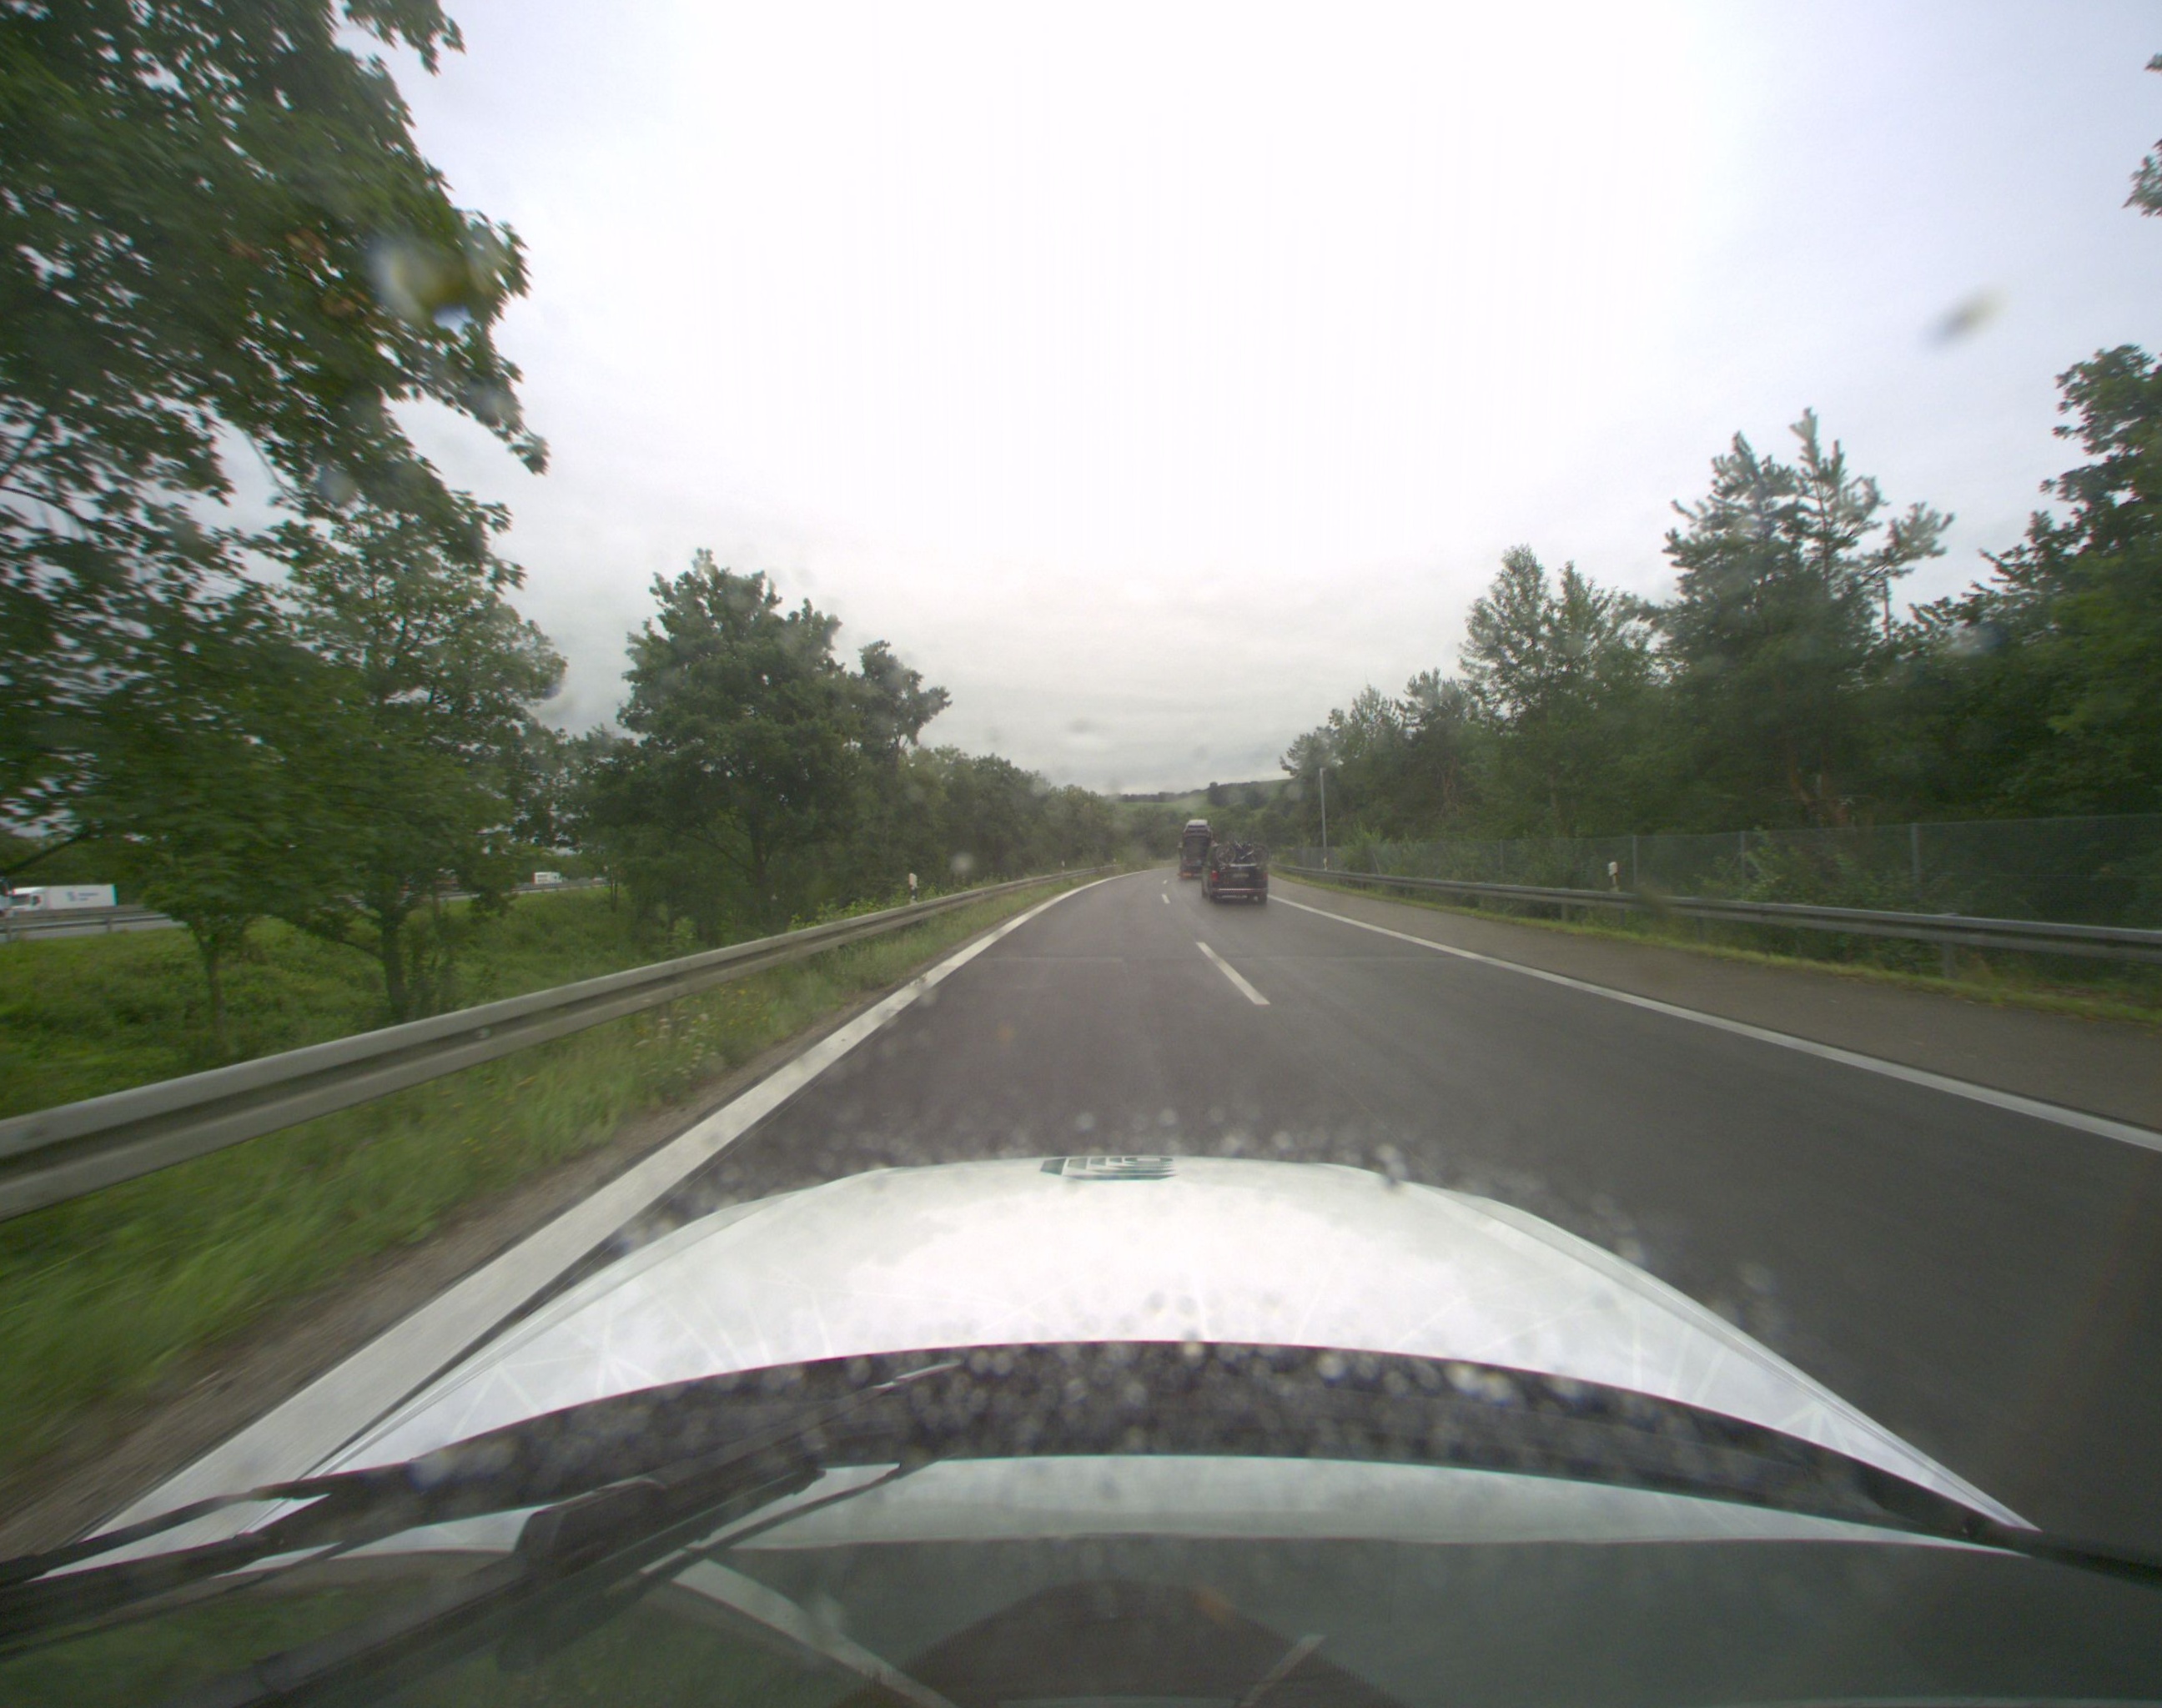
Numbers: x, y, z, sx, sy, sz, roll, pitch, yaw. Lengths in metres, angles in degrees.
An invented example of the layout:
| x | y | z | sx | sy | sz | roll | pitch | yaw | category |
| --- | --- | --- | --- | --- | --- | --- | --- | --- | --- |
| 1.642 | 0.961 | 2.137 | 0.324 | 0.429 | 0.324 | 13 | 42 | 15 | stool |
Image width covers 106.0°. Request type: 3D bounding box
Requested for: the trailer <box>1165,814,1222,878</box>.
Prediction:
| x | y | z | sx | sy | sz | roll | pitch | yaw | category |
| --- | --- | --- | --- | --- | --- | --- | --- | --- | --- |
| 7.665 | -0.523 | 57.071 | 3.432 | 3.999 | 12.045 | 0 | 0 | 5 | trailer |

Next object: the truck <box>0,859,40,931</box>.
| x | y | z | sx | sy | sz | roll | pitch | yaw | category |
| --- | --- | --- | --- | --- | --- | --- | --- | --- | --- |
| -58.557 | 2.200 | 41.796 | 2.646 | 3.812 | 7.297 | -2 | -1 | -19 | truck |

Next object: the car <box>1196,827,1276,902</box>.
| x | y | z | sx | sy | sz | roll | pitch | yaw | category |
| --- | --- | --- | --- | --- | --- | --- | --- | --- | --- |
| 5.134 | 0.311 | 27.692 | 2.100 | 2.264 | 5.905 | 0 | 0 | 5 | car |

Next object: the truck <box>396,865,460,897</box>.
| x | y | z | sx | sy | sz | roll | pitch | yaw | category |
| --- | --- | --- | --- | --- | --- | --- | --- | --- | --- |
| -74.939 | 2.990 | 93.700 | 2.865 | 3.365 | 8.576 | -2 | 0 | -19 | truck |

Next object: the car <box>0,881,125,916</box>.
| x | y | z | sx | sy | sz | roll | pitch | yaw | category |
| --- | --- | --- | --- | --- | --- | --- | --- | --- | --- |
| -99.806 | 4.297 | 79.930 | 2.739 | 2.982 | 10.021 | -2 | -1 | -18 | car |

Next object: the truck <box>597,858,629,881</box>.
| x | y | z | sx | sy | sz | roll | pitch | yaw | category |
| --- | --- | --- | --- | --- | --- | --- | --- | --- | --- |
| -95.916 | 3.192 | 167.152 | 3.744 | 4.417 | 10.130 | -2 | 0 | -19 | truck |

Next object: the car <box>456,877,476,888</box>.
| x | y | z | sx | sy | sz | roll | pitch | yaw | category |
| --- | --- | --- | --- | --- | --- | --- | --- | --- | --- |
| -124.059 | 5.753 | 164.305 | 2.000 | 1.837 | 3.975 | -3 | 2 | -19 | car |
